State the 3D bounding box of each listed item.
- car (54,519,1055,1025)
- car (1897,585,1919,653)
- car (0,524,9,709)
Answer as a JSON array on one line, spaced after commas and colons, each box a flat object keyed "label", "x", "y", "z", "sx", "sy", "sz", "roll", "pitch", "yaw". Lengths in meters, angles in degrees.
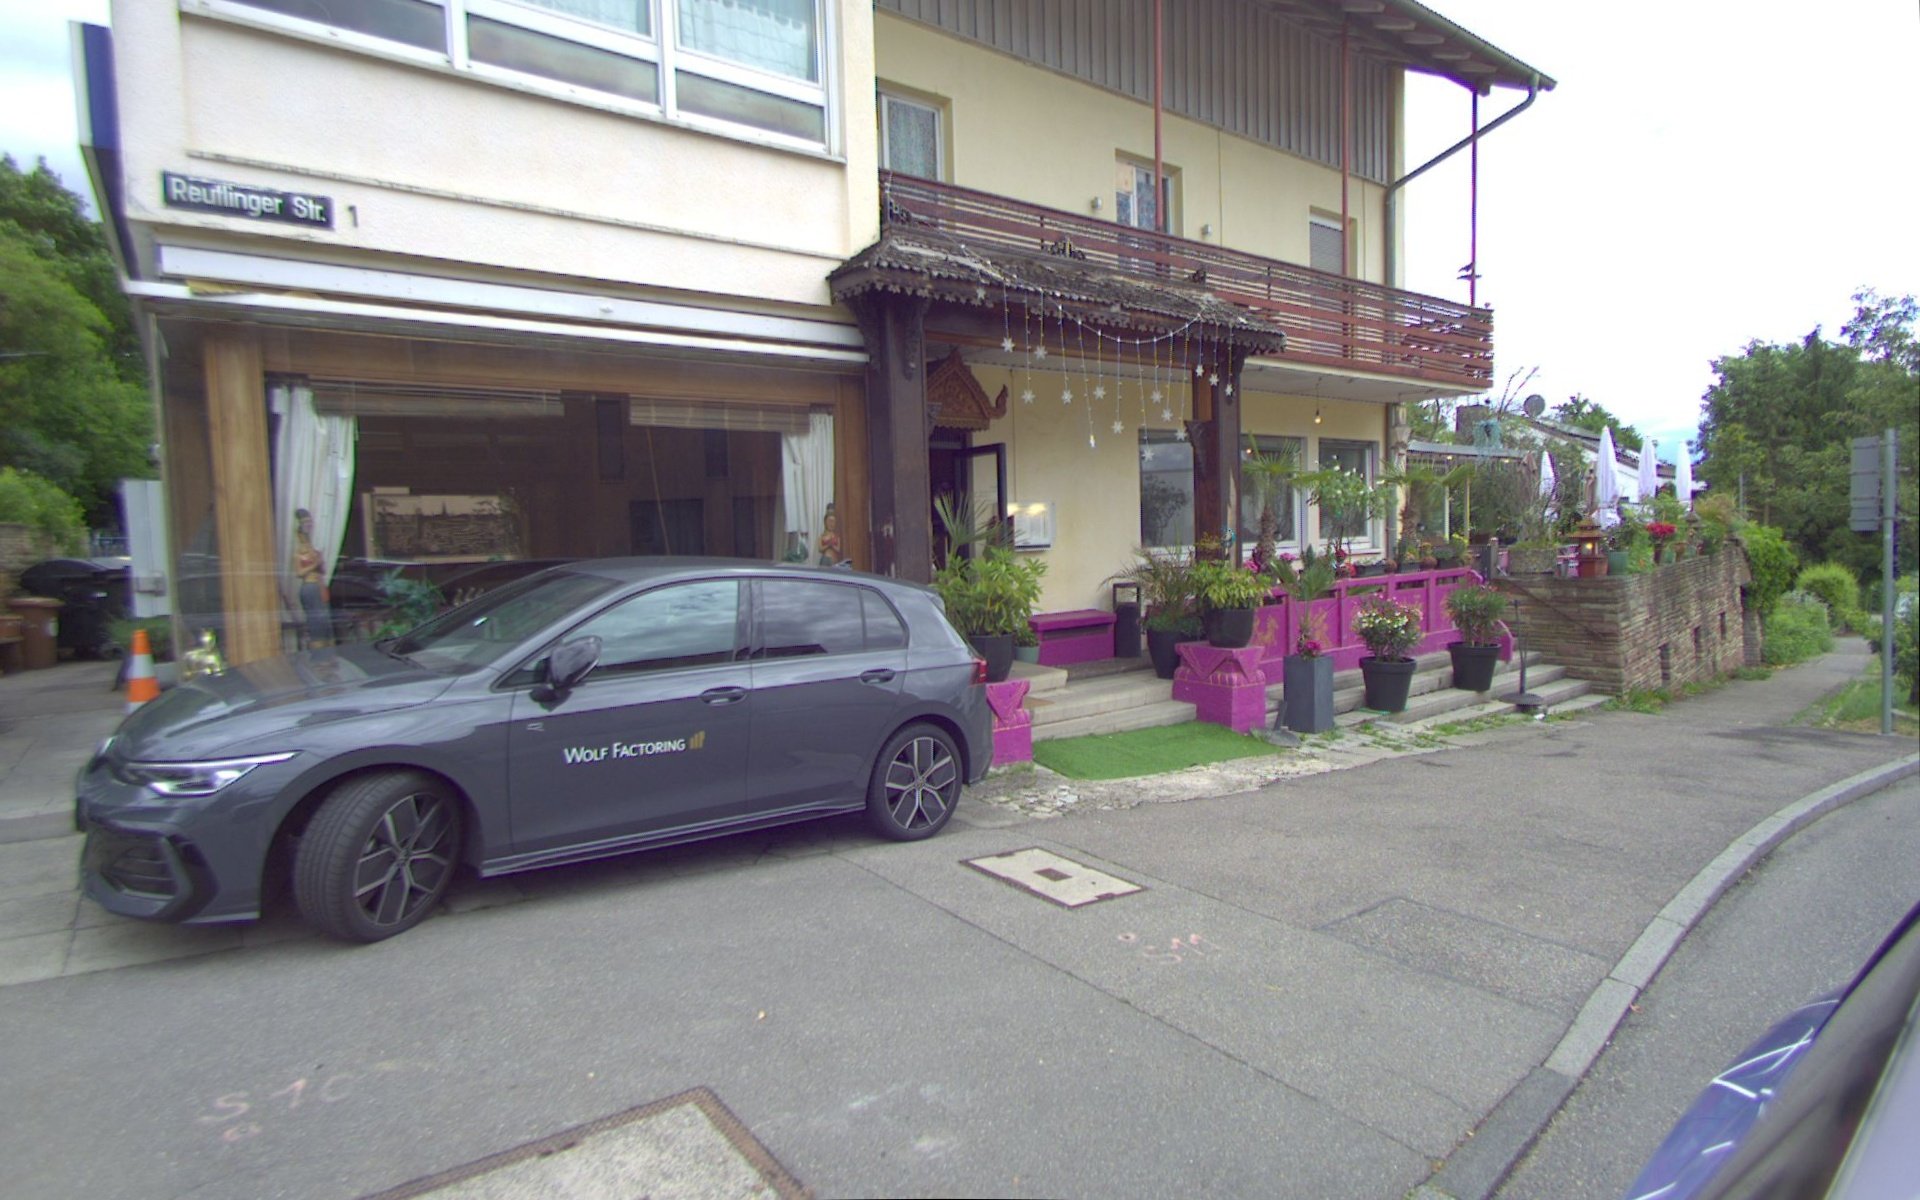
[{"label": "car", "x": -1.692, "y": 0.448, "z": 5.141, "sx": 4.310, "sy": 1.490, "sz": 1.852, "roll": 0, "pitch": 4, "yaw": -42}, {"label": "car", "x": 28.527, "y": 0.538, "z": 29.276, "sx": 1.937, "sy": 1.860, "sz": 5.136, "roll": 2, "pitch": 2, "yaw": 44}, {"label": "car", "x": -6.705, "y": 0.244, "z": 5.135, "sx": 1.800, "sy": 1.343, "sz": 4.517, "roll": -1, "pitch": 3, "yaw": -31}]
